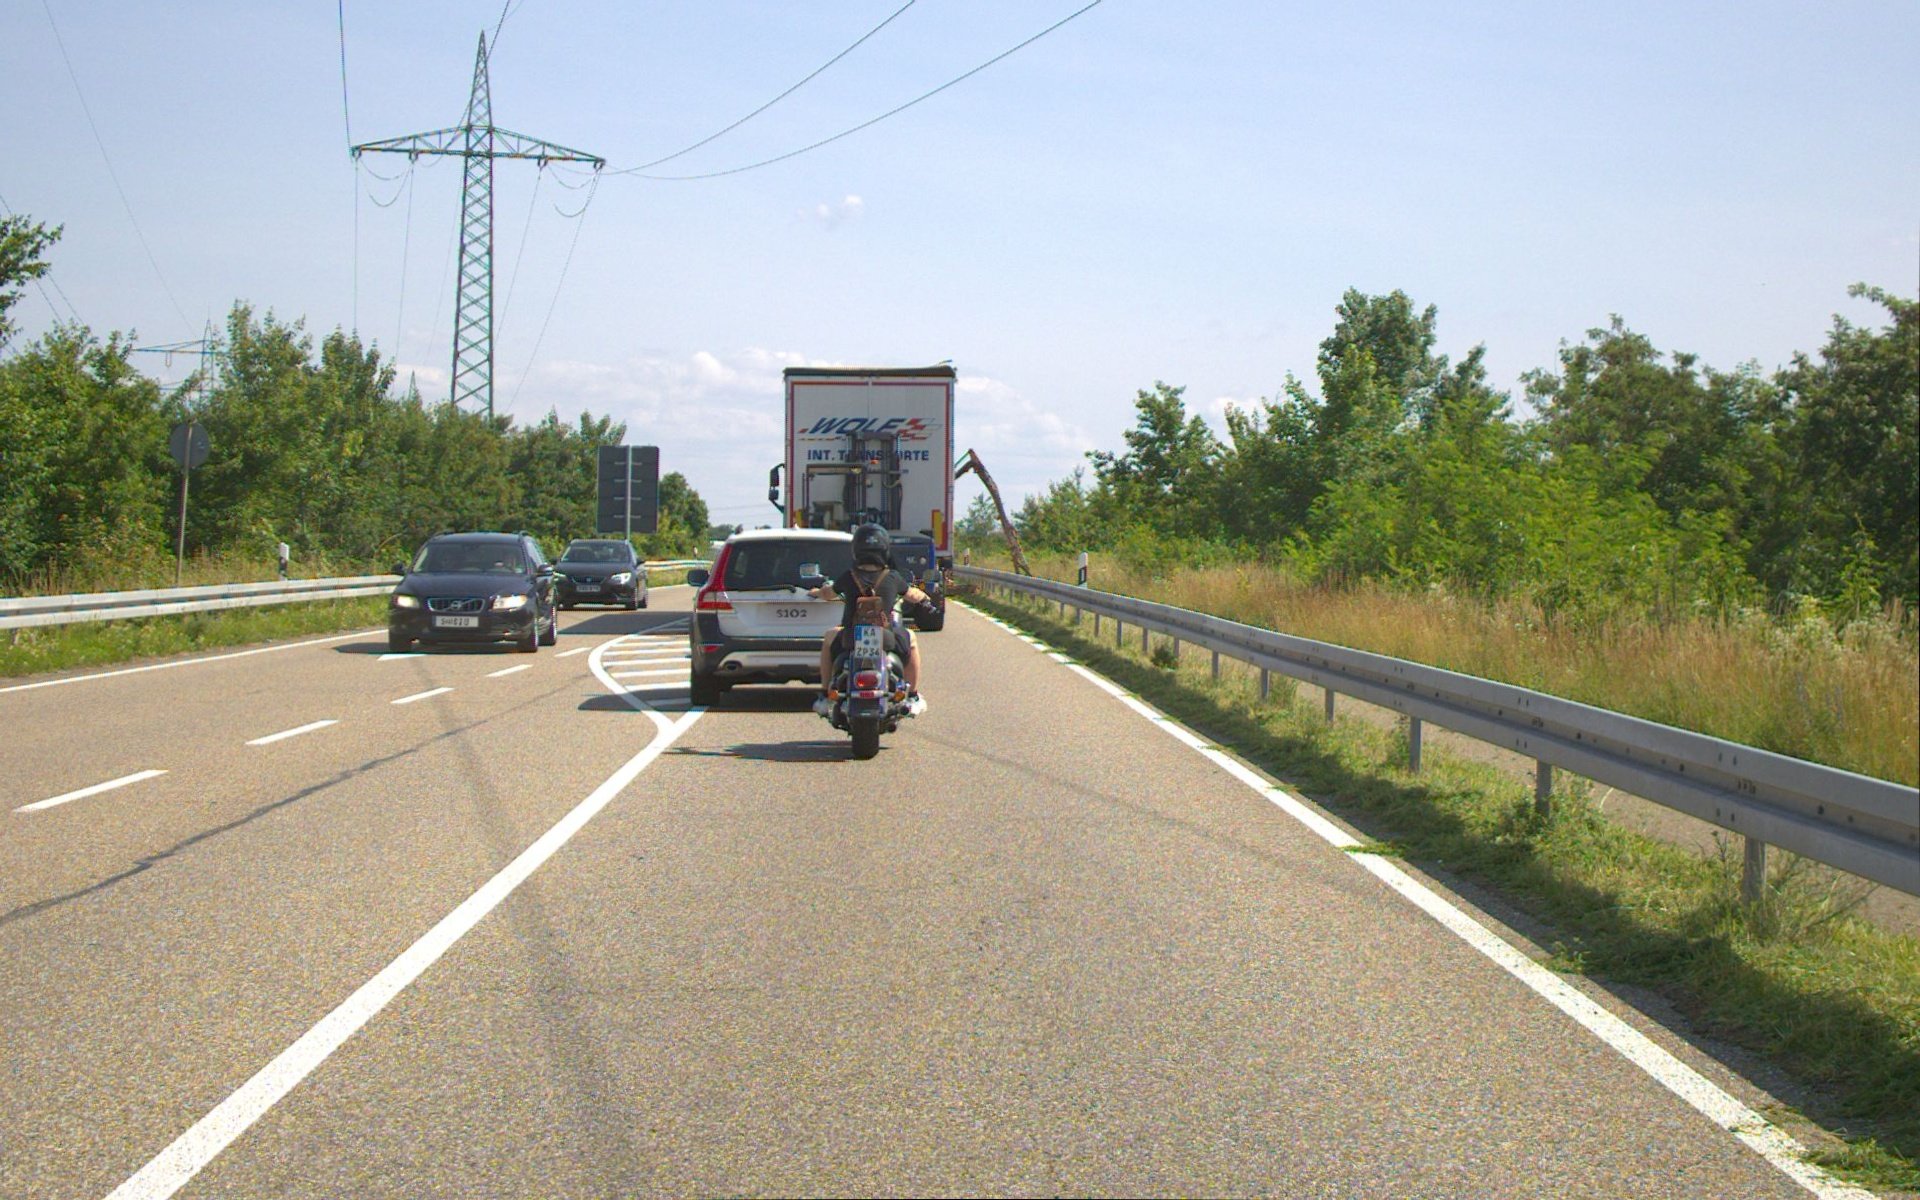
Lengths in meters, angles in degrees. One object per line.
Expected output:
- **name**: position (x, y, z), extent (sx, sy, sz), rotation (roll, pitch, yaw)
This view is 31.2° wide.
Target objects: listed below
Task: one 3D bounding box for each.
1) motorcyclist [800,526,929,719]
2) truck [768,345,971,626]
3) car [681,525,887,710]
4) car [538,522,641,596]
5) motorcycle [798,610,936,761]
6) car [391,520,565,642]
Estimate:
- **motorcyclist**: position (-0.656, 0.142, 23.343), extent (0.837, 1.276, 0.919), rotation (1, 1, -3)
- **truck**: position (-1.770, -1.864, 58.943), extent (2.967, 4.172, 14.824), rotation (1, 1, -3)
- **car**: position (-1.512, 0.110, 30.538), extent (1.701, 1.531, 3.499), rotation (1, 1, -1)
- **car**: position (-7.446, -0.842, 69.321), extent (1.659, 1.437, 4.215), rotation (1, 1, -1)
- **motorcycle**: position (-0.650, 0.551, 23.231), extent (0.858, 0.912, 2.228), rotation (0, 1, -3)
- **car**: position (-6.162, -0.284, 44.358), extent (1.727, 1.486, 4.423), rotation (1, 1, -2)
